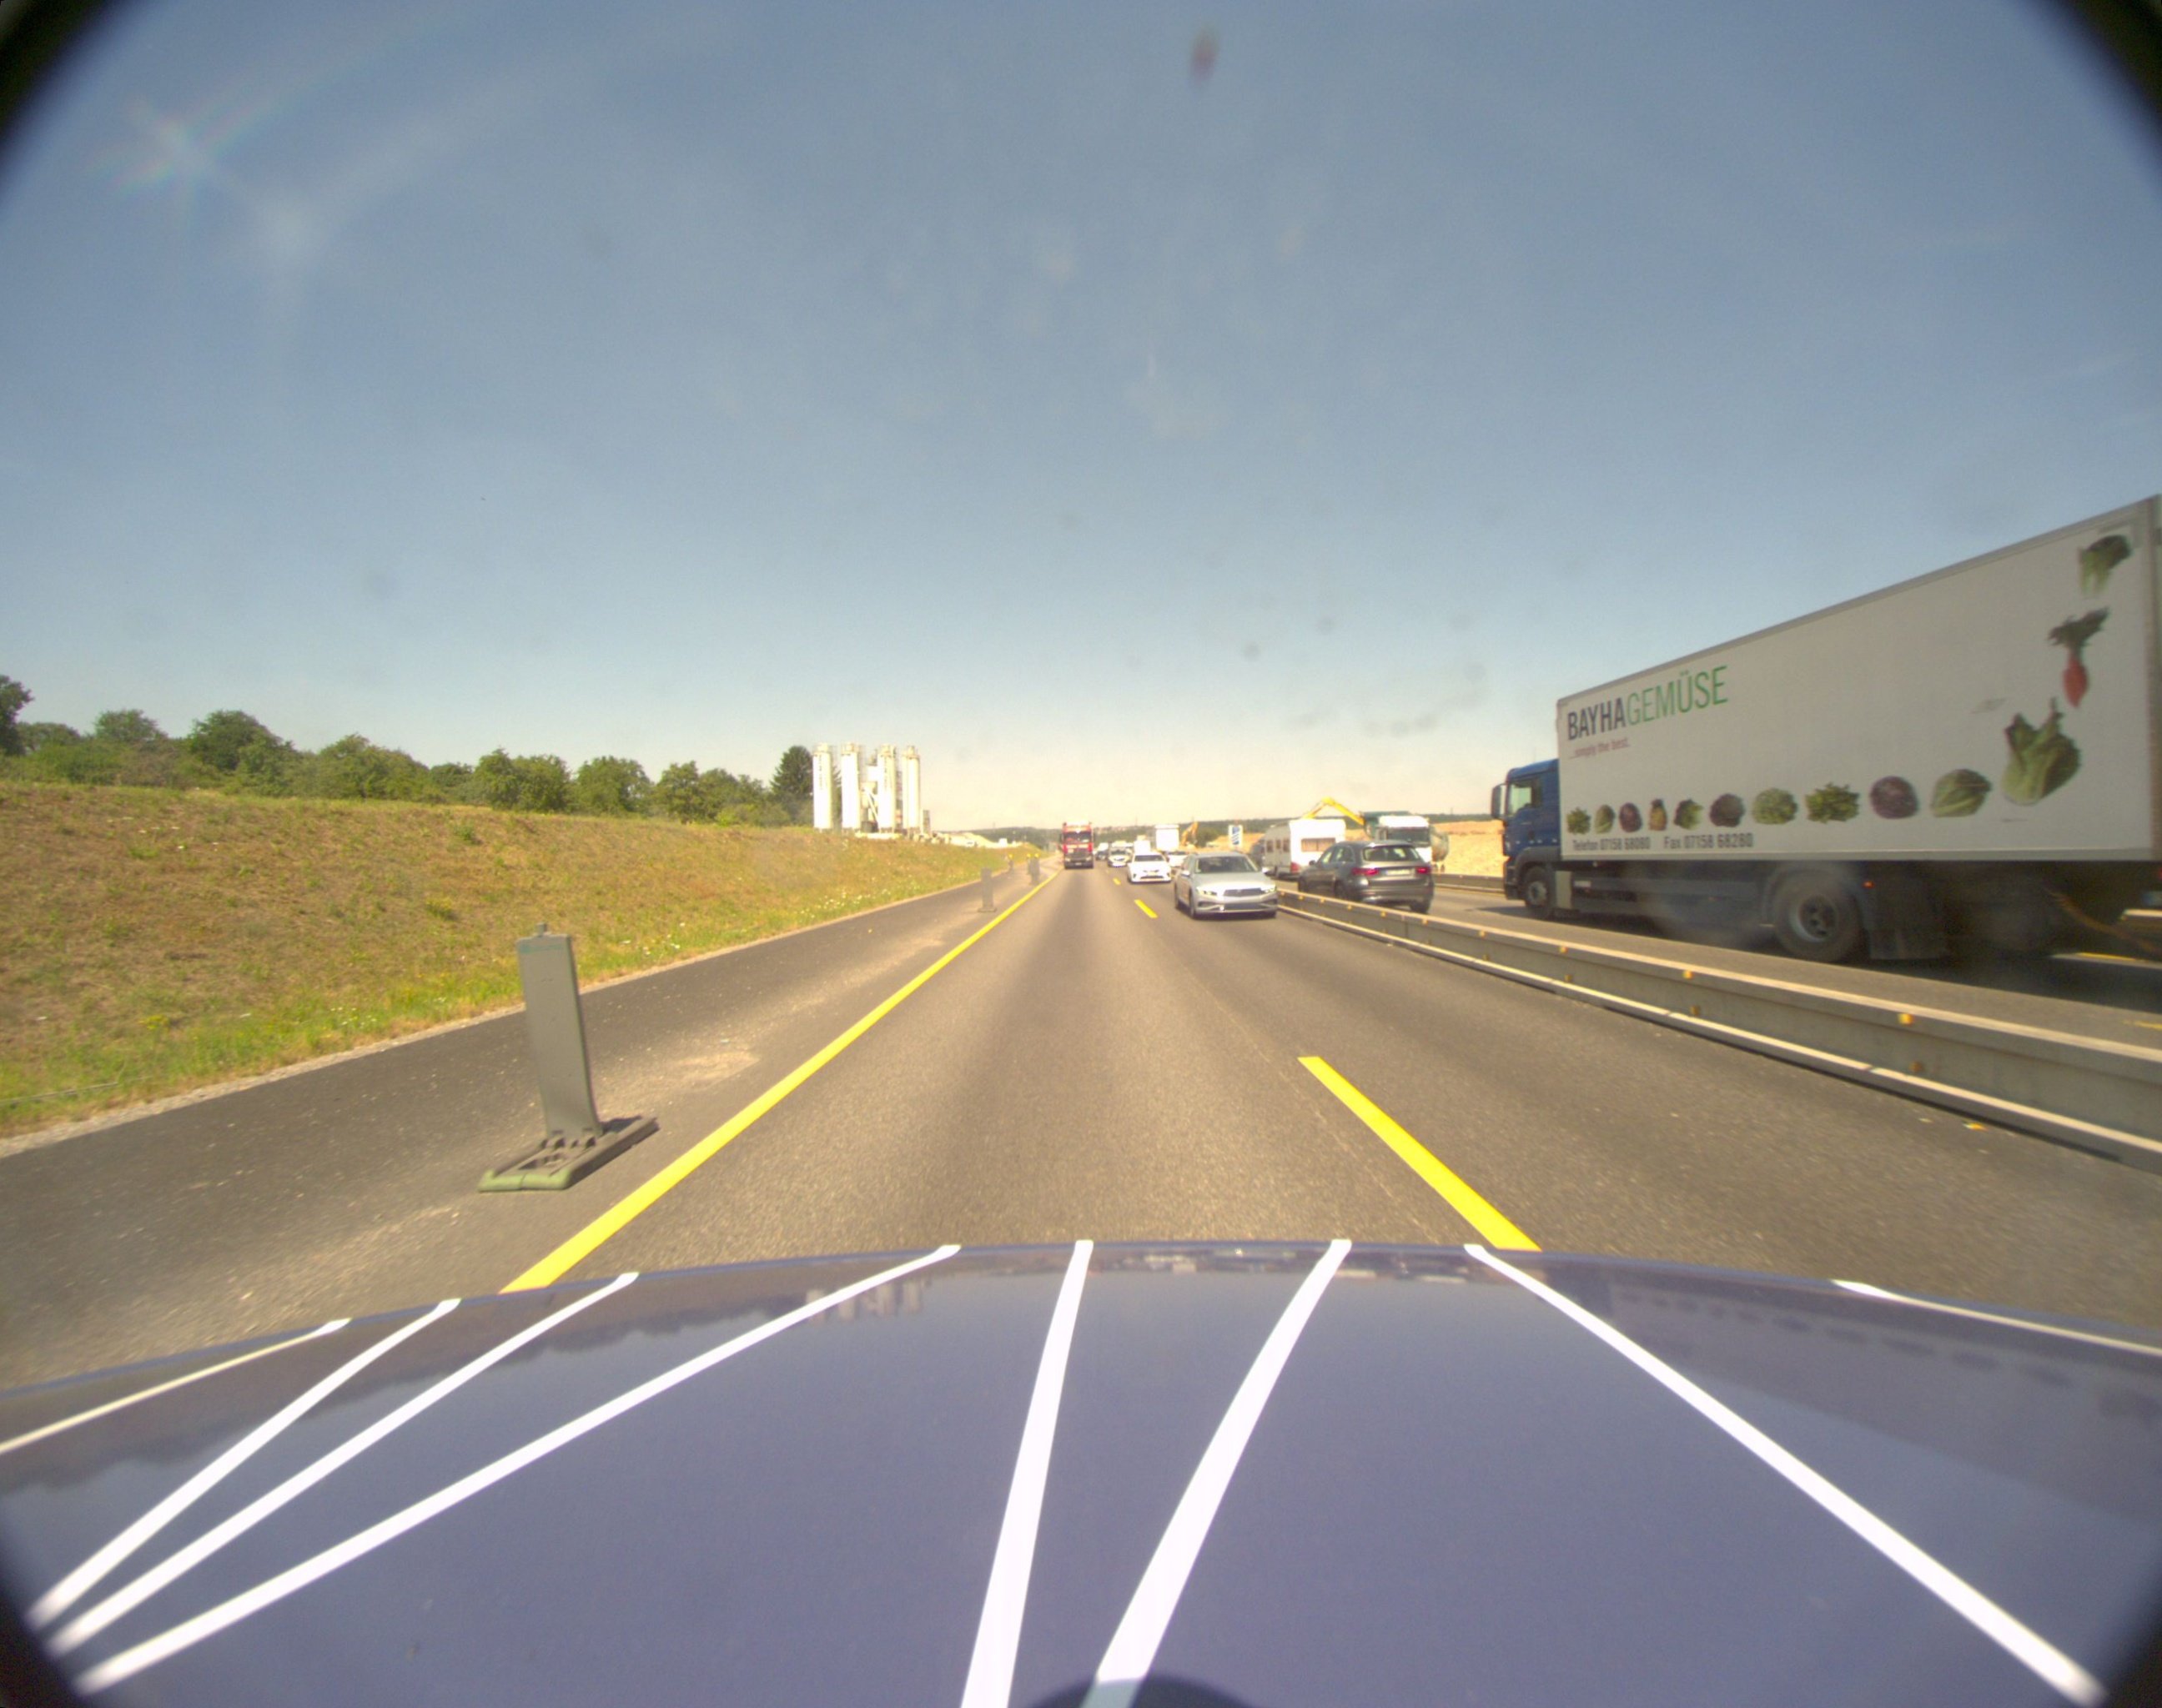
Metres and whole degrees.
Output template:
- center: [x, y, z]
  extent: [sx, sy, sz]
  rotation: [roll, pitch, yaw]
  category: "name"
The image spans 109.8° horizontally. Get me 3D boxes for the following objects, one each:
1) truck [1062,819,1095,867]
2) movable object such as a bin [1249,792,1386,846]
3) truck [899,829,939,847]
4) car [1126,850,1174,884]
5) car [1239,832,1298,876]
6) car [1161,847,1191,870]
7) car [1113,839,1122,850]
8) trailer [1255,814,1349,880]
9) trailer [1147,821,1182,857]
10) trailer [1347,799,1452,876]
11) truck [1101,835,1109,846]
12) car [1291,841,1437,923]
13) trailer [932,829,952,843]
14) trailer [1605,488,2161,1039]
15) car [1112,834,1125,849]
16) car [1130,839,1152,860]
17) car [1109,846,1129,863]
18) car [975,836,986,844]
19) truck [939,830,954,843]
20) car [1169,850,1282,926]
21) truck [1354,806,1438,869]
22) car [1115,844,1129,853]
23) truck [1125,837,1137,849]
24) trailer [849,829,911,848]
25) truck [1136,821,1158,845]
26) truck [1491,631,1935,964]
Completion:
- center: [-0.127, -1.006, 67.654]
  extent: [2.537, 3.799, 9.480]
  rotation: [-2, 1, 1]
  category: "truck"
- center: [33.619, -4.965, 108.598]
  extent: [18.266, 6.734, 3.387]
  rotation: [-2, 2, 0]
  category: "movable object such as a bin"
- center: [-25.533, -2.533, 119.513]
  extent: [5.317, 2.530, 2.897]
  rotation: [-3, 2, -36]
  category: "truck"
- center: [3.161, 0.553, 35.513]
  extent: [1.875, 1.390, 4.029]
  rotation: [-2, 1, 1]
  category: "car"
- center: [9.819, -0.053, 40.190]
  extent: [1.998, 2.143, 4.863]
  rotation: [0, 1, 1]
  category: "car"
- center: [6.886, 0.295, 55.443]
  extent: [1.693, 1.493, 3.975]
  rotation: [-2, 1, 0]
  category: "car"
- center: [11.143, -2.916, 230.764]
  extent: [2.257, 2.939, 5.847]
  rotation: [-2, 1, 0]
  category: "car"
- center: [9.805, -0.301, 34.401]
  extent: [2.317, 2.671, 6.755]
  rotation: [0, 1, 0]
  category: "trailer"
- center: [10.072, -1.843, 93.321]
  extent: [2.861, 4.070, 13.649]
  rotation: [-1, 1, 0]
  category: "trailer"
- center: [18.527, -1.015, 43.834]
  extent: [2.792, 4.075, 8.385]
  rotation: [-1, 2, 43]
  category: "trailer"
- center: [7.314, -4.010, 230.205]
  extent: [2.276, 3.132, 7.313]
  rotation: [-2, 1, 2]
  category: "truck"
- center: [6.408, 0.526, 17.801]
  extent: [1.693, 1.604, 4.592]
  rotation: [-2, 1, 0]
  category: "car"
- center: [-27.805, -3.544, 152.212]
  extent: [1.998, 2.629, 6.936]
  rotation: [-2, 1, 4]
  category: "trailer"
- center: [9.388, -0.676, 4.176]
  extent: [2.508, 4.155, 15.532]
  rotation: [0, 1, 1]
  category: "trailer"
- center: [10.004, -3.377, 203.156]
  extent: [2.915, 3.719, 8.090]
  rotation: [-2, 0, 0]
  category: "car"
- center: [6.846, -0.572, 87.137]
  extent: [1.999, 2.279, 5.342]
  rotation: [-2, 1, 0]
  category: "car"
- center: [3.323, 0.019, 67.462]
  extent: [1.601, 1.390, 3.695]
  rotation: [-2, 1, 1]
  category: "car"
- center: [-23.484, -3.173, 177.560]
  extent: [1.990, 1.752, 3.601]
  rotation: [-2, 1, 0]
  category: "car"
- center: [-27.533, -3.601, 155.926]
  extent: [2.021, 2.531, 4.041]
  rotation: [-2, 1, 4]
  category: "truck"
- center: [3.215, 0.701, 17.727]
  extent: [1.804, 1.499, 4.100]
  rotation: [-2, 0, 0]
  category: "car"
- center: [16.183, -0.870, 39.360]
  extent: [2.584, 2.947, 5.063]
  rotation: [-2, 1, 6]
  category: "truck"
- center: [7.030, -0.995, 131.001]
  extent: [1.863, 1.434, 4.499]
  rotation: [-2, 1, -3]
  category: "car"
- center: [11.109, -2.433, 170.318]
  extent: [2.103, 2.554, 6.354]
  rotation: [-3, 0, 0]
  category: "truck"
- center: [-31.066, -2.398, 117.836]
  extent: [8.919, 2.592, 2.463]
  rotation: [-2, 1, -3]
  category: "trailer"
- center: [10.503, -3.340, 121.987]
  extent: [2.651, 3.695, 9.480]
  rotation: [-2, 1, 0]
  category: "truck"
- center: [9.545, -0.725, 12.542]
  extent: [2.497, 4.174, 5.911]
  rotation: [0, 1, 2]
  category: "truck"
